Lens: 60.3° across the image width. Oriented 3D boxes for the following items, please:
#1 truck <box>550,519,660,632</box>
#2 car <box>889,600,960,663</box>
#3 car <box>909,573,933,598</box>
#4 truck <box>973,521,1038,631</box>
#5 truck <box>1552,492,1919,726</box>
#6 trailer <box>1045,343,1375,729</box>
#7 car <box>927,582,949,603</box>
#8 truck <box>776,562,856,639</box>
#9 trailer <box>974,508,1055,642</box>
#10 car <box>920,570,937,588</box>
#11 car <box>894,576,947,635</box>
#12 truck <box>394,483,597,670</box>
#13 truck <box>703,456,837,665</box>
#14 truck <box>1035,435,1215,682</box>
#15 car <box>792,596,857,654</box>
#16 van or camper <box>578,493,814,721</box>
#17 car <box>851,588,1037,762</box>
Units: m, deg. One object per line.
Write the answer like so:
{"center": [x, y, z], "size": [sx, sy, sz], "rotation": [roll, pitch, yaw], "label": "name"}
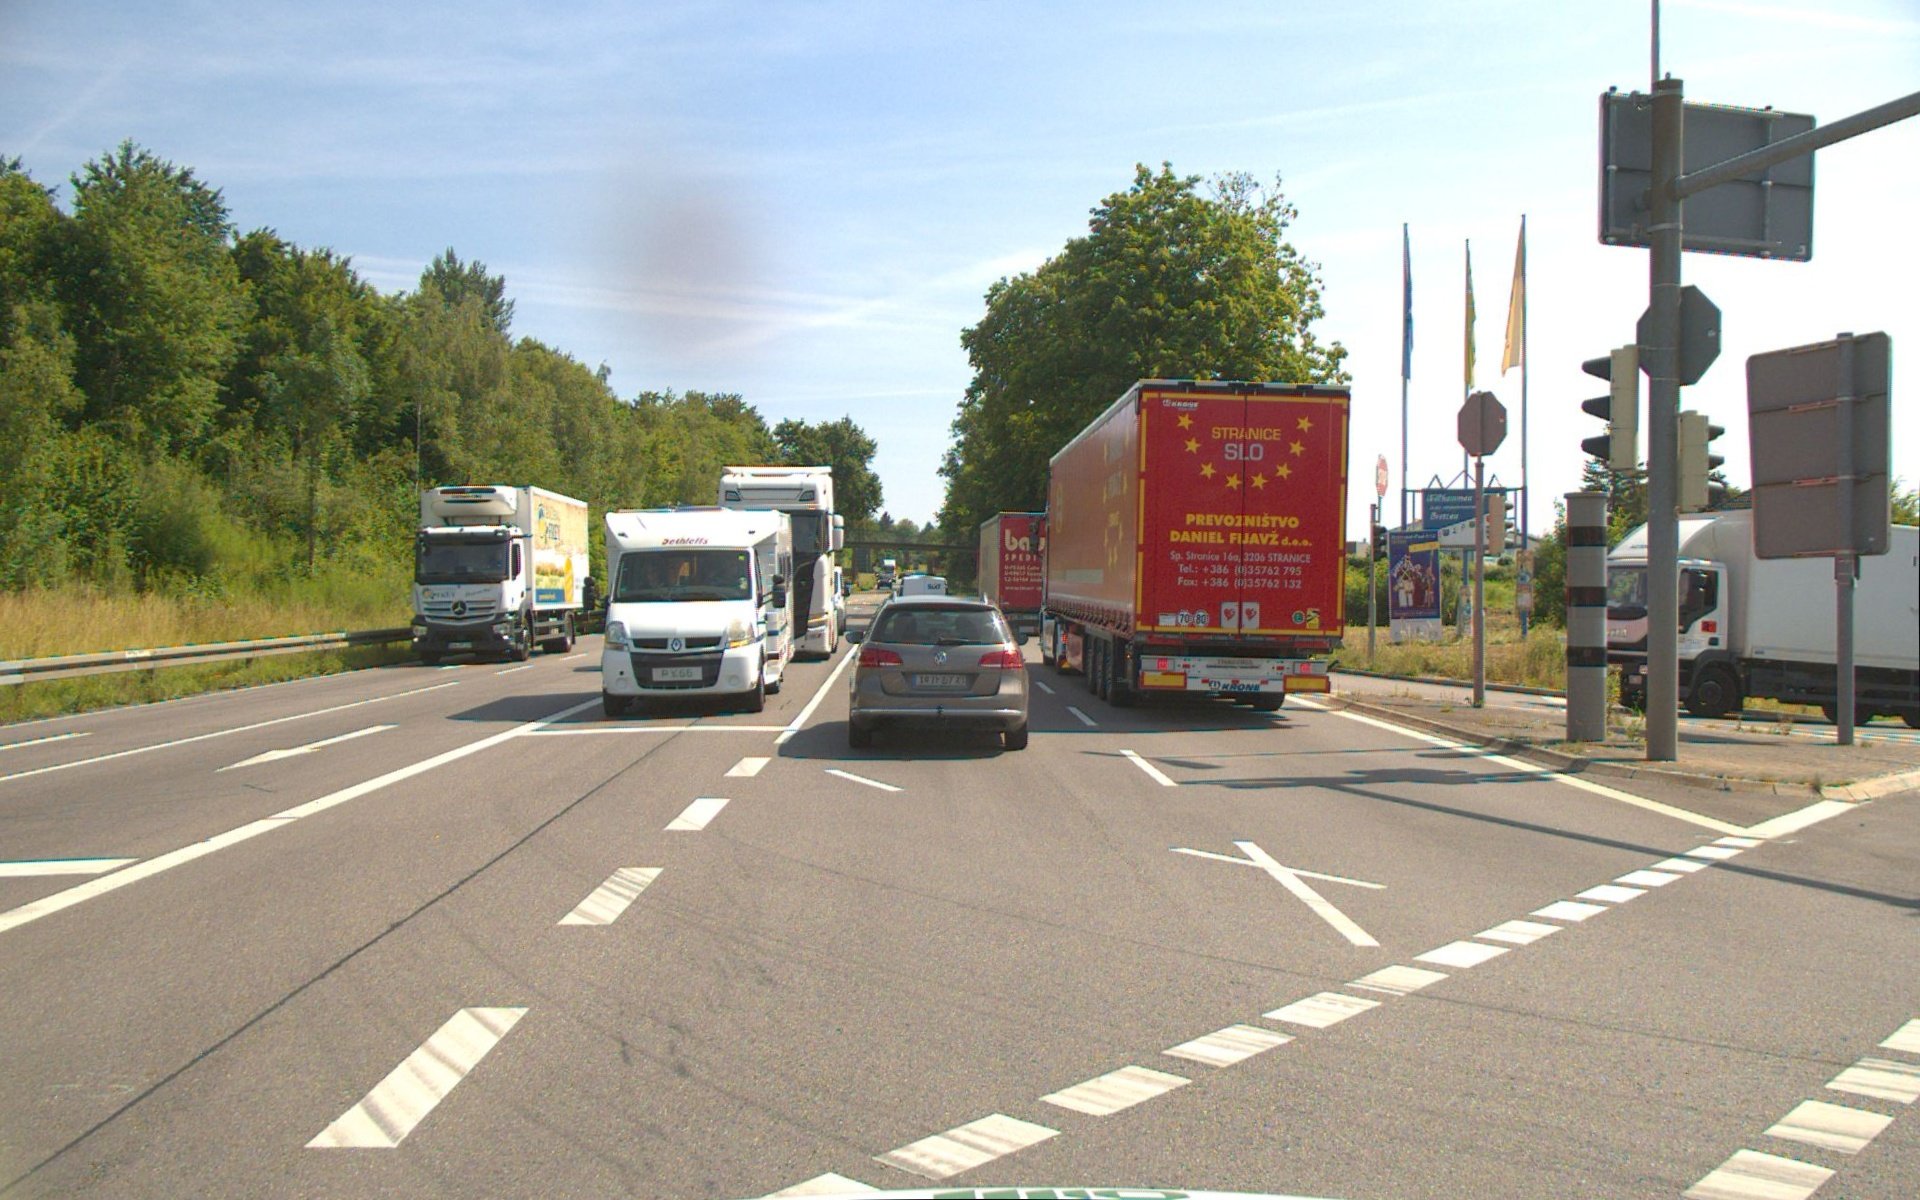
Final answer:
{"center": [-14.201, -0.928, 66.971], "size": [2.773, 4.188, 9.677], "rotation": [-1, 0, -3], "label": "truck"}
{"center": [-0.973, 0.785, 43.114], "size": [1.735, 1.539, 3.998], "rotation": [-1, 0, -3], "label": "car"}
{"center": [-3.356, -1.253, 141.190], "size": [1.953, 2.049, 3.998], "rotation": [-1, 0, -2], "label": "car"}
{"center": [1.772, -0.944, 66.720], "size": [2.357, 4.200, 5.520], "rotation": [-1, 0, 0], "label": "truck"}
{"center": [15.995, 0.357, 30.926], "size": [9.523, 3.691, 2.753], "rotation": [4, -2, -19], "label": "truck"}
{"center": [3.252, -0.756, 25.821], "size": [2.782, 4.441, 13.163], "rotation": [1, 0, -1], "label": "trailer"}
{"center": [-2.187, -0.728, 162.198], "size": [1.953, 2.049, 3.998], "rotation": [-1, 0, -2], "label": "car"}
{"center": [-4.630, 0.014, 54.039], "size": [2.182, 2.307, 6.497], "rotation": [-1, 0, -2], "label": "truck"}
{"center": [1.826, -0.839, 60.228], "size": [2.346, 4.317, 13.076], "rotation": [-1, 0, 0], "label": "trailer"}
{"center": [-3.745, -2.492, 198.183], "size": [1.953, 2.049, 3.998], "rotation": [-1, 0, -2], "label": "car"}
{"center": [-1.405, 0.174, 57.883], "size": [1.735, 1.970, 3.975], "rotation": [-1, 0, -3], "label": "car"}
{"center": [-11.271, -0.541, 41.206], "size": [2.674, 4.069, 9.615], "rotation": [-1, 0, -2], "label": "truck"}
{"center": [-4.050, -0.811, 36.341], "size": [2.486, 4.159, 6.261], "rotation": [-1, 0, -3], "label": "truck"}
{"center": [3.079, -0.745, 32.419], "size": [2.811, 4.356, 5.838], "rotation": [1, 0, -1], "label": "truck"}
{"center": [-3.902, 0.697, 48.202], "size": [1.676, 1.578, 4.107], "rotation": [-1, 0, -2], "label": "car"}
{"center": [-3.422, 0.073, 22.996], "size": [2.283, 2.645, 6.976], "rotation": [-1, 0, -1], "label": "van or camper"}
{"center": [-0.231, 0.673, 16.991], "size": [1.657, 1.539, 3.998], "rotation": [-1, 0, -3], "label": "car"}
